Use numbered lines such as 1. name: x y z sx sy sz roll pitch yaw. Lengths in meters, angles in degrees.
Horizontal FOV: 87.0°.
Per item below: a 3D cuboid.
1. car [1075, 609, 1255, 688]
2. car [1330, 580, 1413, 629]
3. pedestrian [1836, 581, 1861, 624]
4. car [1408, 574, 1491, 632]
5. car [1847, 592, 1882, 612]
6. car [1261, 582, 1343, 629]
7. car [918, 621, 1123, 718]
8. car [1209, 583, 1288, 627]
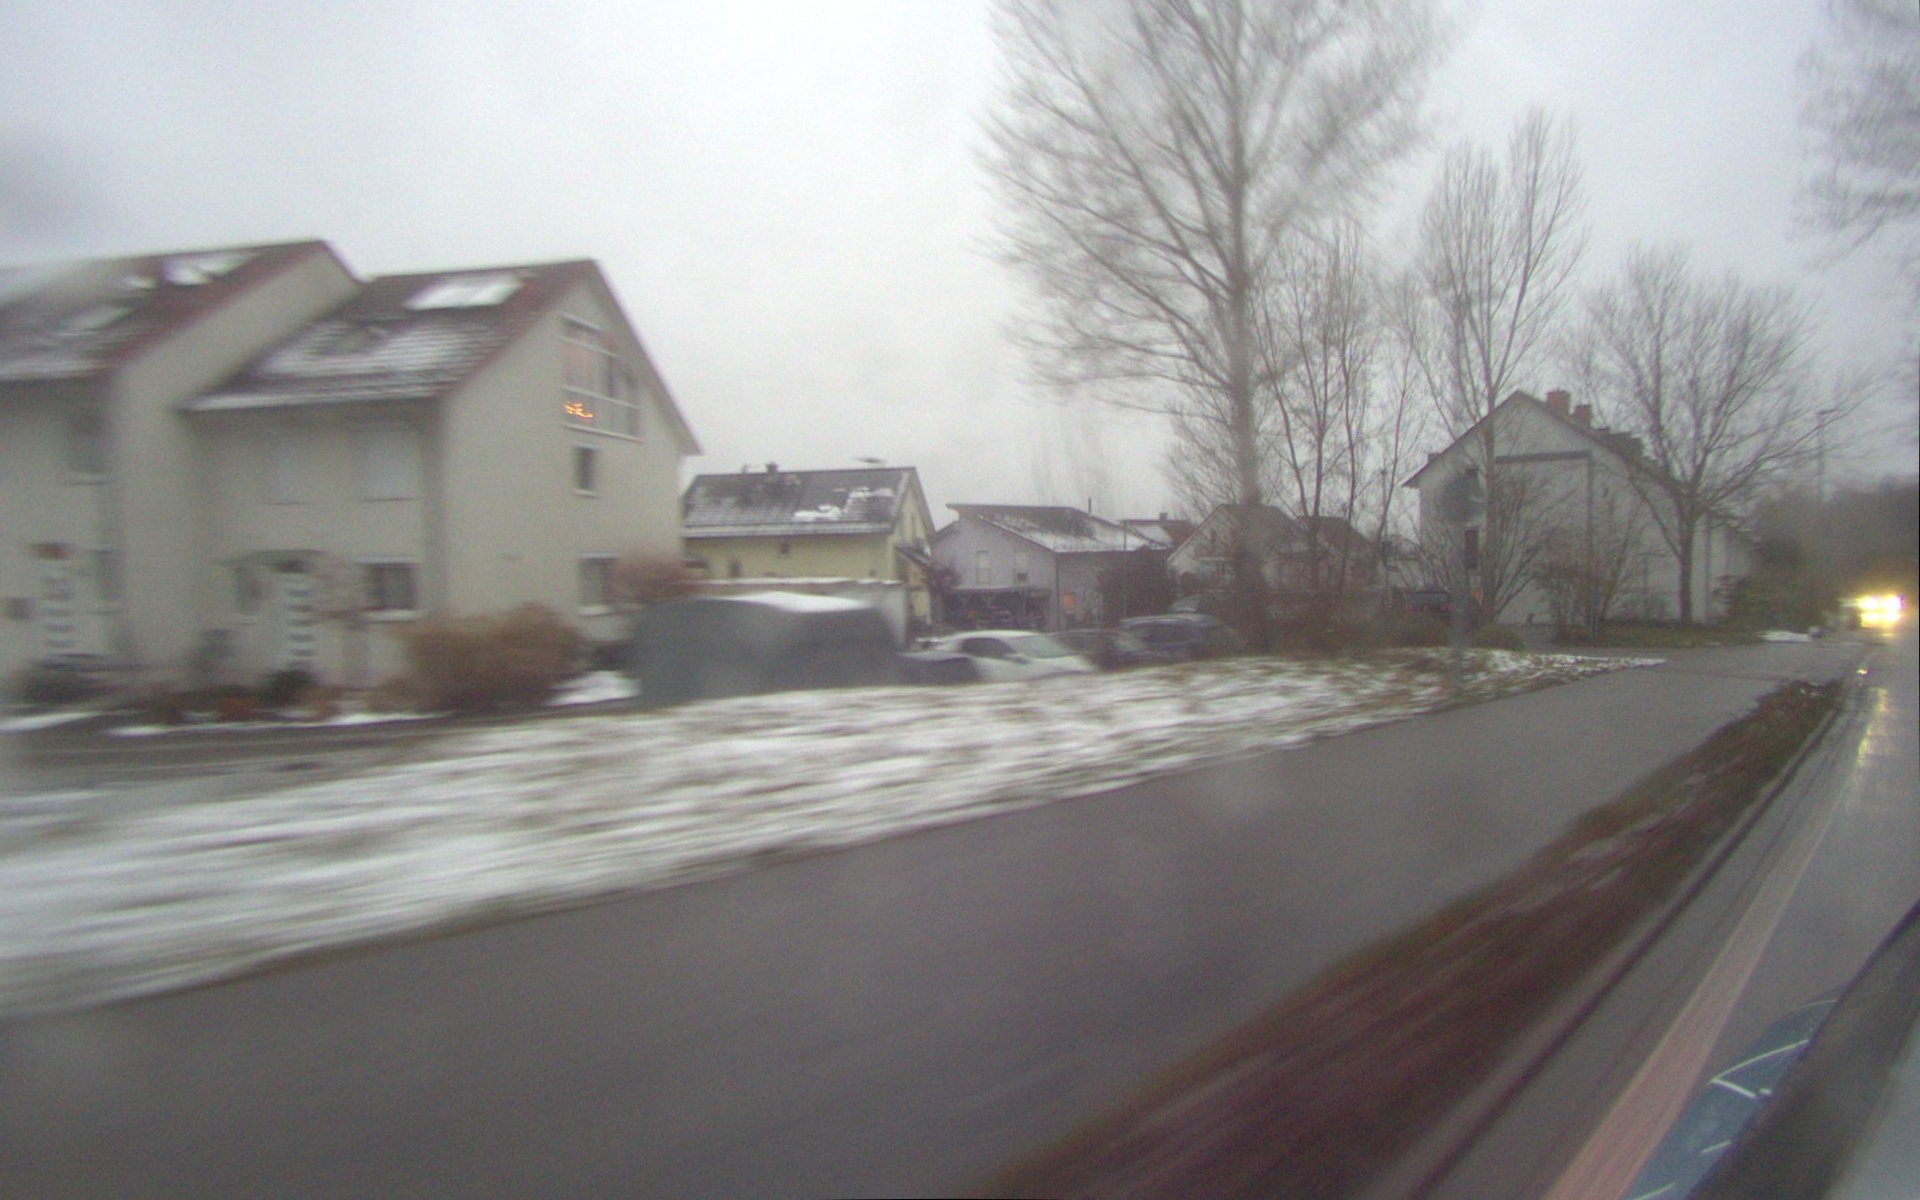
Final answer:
1. car: 4.755 1.066 23.765 3.778 1.617 1.777 1 0 41
2. car: 15.152 0.112 37.176 1.637 1.490 3.685 1 5 42
3. pedestrian: 34.883 0.094 39.731 0.743 1.676 0.956 0 0 42
4. car: 17.226 0.050 35.529 1.637 1.703 3.685 1 5 42
5. car: 73.280 0.137 82.013 1.699 1.525 3.973 -1 0 36
6. car: 13.201 0.171 38.997 1.637 1.490 3.685 1 5 42
7. car: 1.146 1.293 20.111 3.778 1.617 1.777 1 0 41
8. car: 11.866 0.162 41.546 1.637 1.490 3.685 1 5 42
